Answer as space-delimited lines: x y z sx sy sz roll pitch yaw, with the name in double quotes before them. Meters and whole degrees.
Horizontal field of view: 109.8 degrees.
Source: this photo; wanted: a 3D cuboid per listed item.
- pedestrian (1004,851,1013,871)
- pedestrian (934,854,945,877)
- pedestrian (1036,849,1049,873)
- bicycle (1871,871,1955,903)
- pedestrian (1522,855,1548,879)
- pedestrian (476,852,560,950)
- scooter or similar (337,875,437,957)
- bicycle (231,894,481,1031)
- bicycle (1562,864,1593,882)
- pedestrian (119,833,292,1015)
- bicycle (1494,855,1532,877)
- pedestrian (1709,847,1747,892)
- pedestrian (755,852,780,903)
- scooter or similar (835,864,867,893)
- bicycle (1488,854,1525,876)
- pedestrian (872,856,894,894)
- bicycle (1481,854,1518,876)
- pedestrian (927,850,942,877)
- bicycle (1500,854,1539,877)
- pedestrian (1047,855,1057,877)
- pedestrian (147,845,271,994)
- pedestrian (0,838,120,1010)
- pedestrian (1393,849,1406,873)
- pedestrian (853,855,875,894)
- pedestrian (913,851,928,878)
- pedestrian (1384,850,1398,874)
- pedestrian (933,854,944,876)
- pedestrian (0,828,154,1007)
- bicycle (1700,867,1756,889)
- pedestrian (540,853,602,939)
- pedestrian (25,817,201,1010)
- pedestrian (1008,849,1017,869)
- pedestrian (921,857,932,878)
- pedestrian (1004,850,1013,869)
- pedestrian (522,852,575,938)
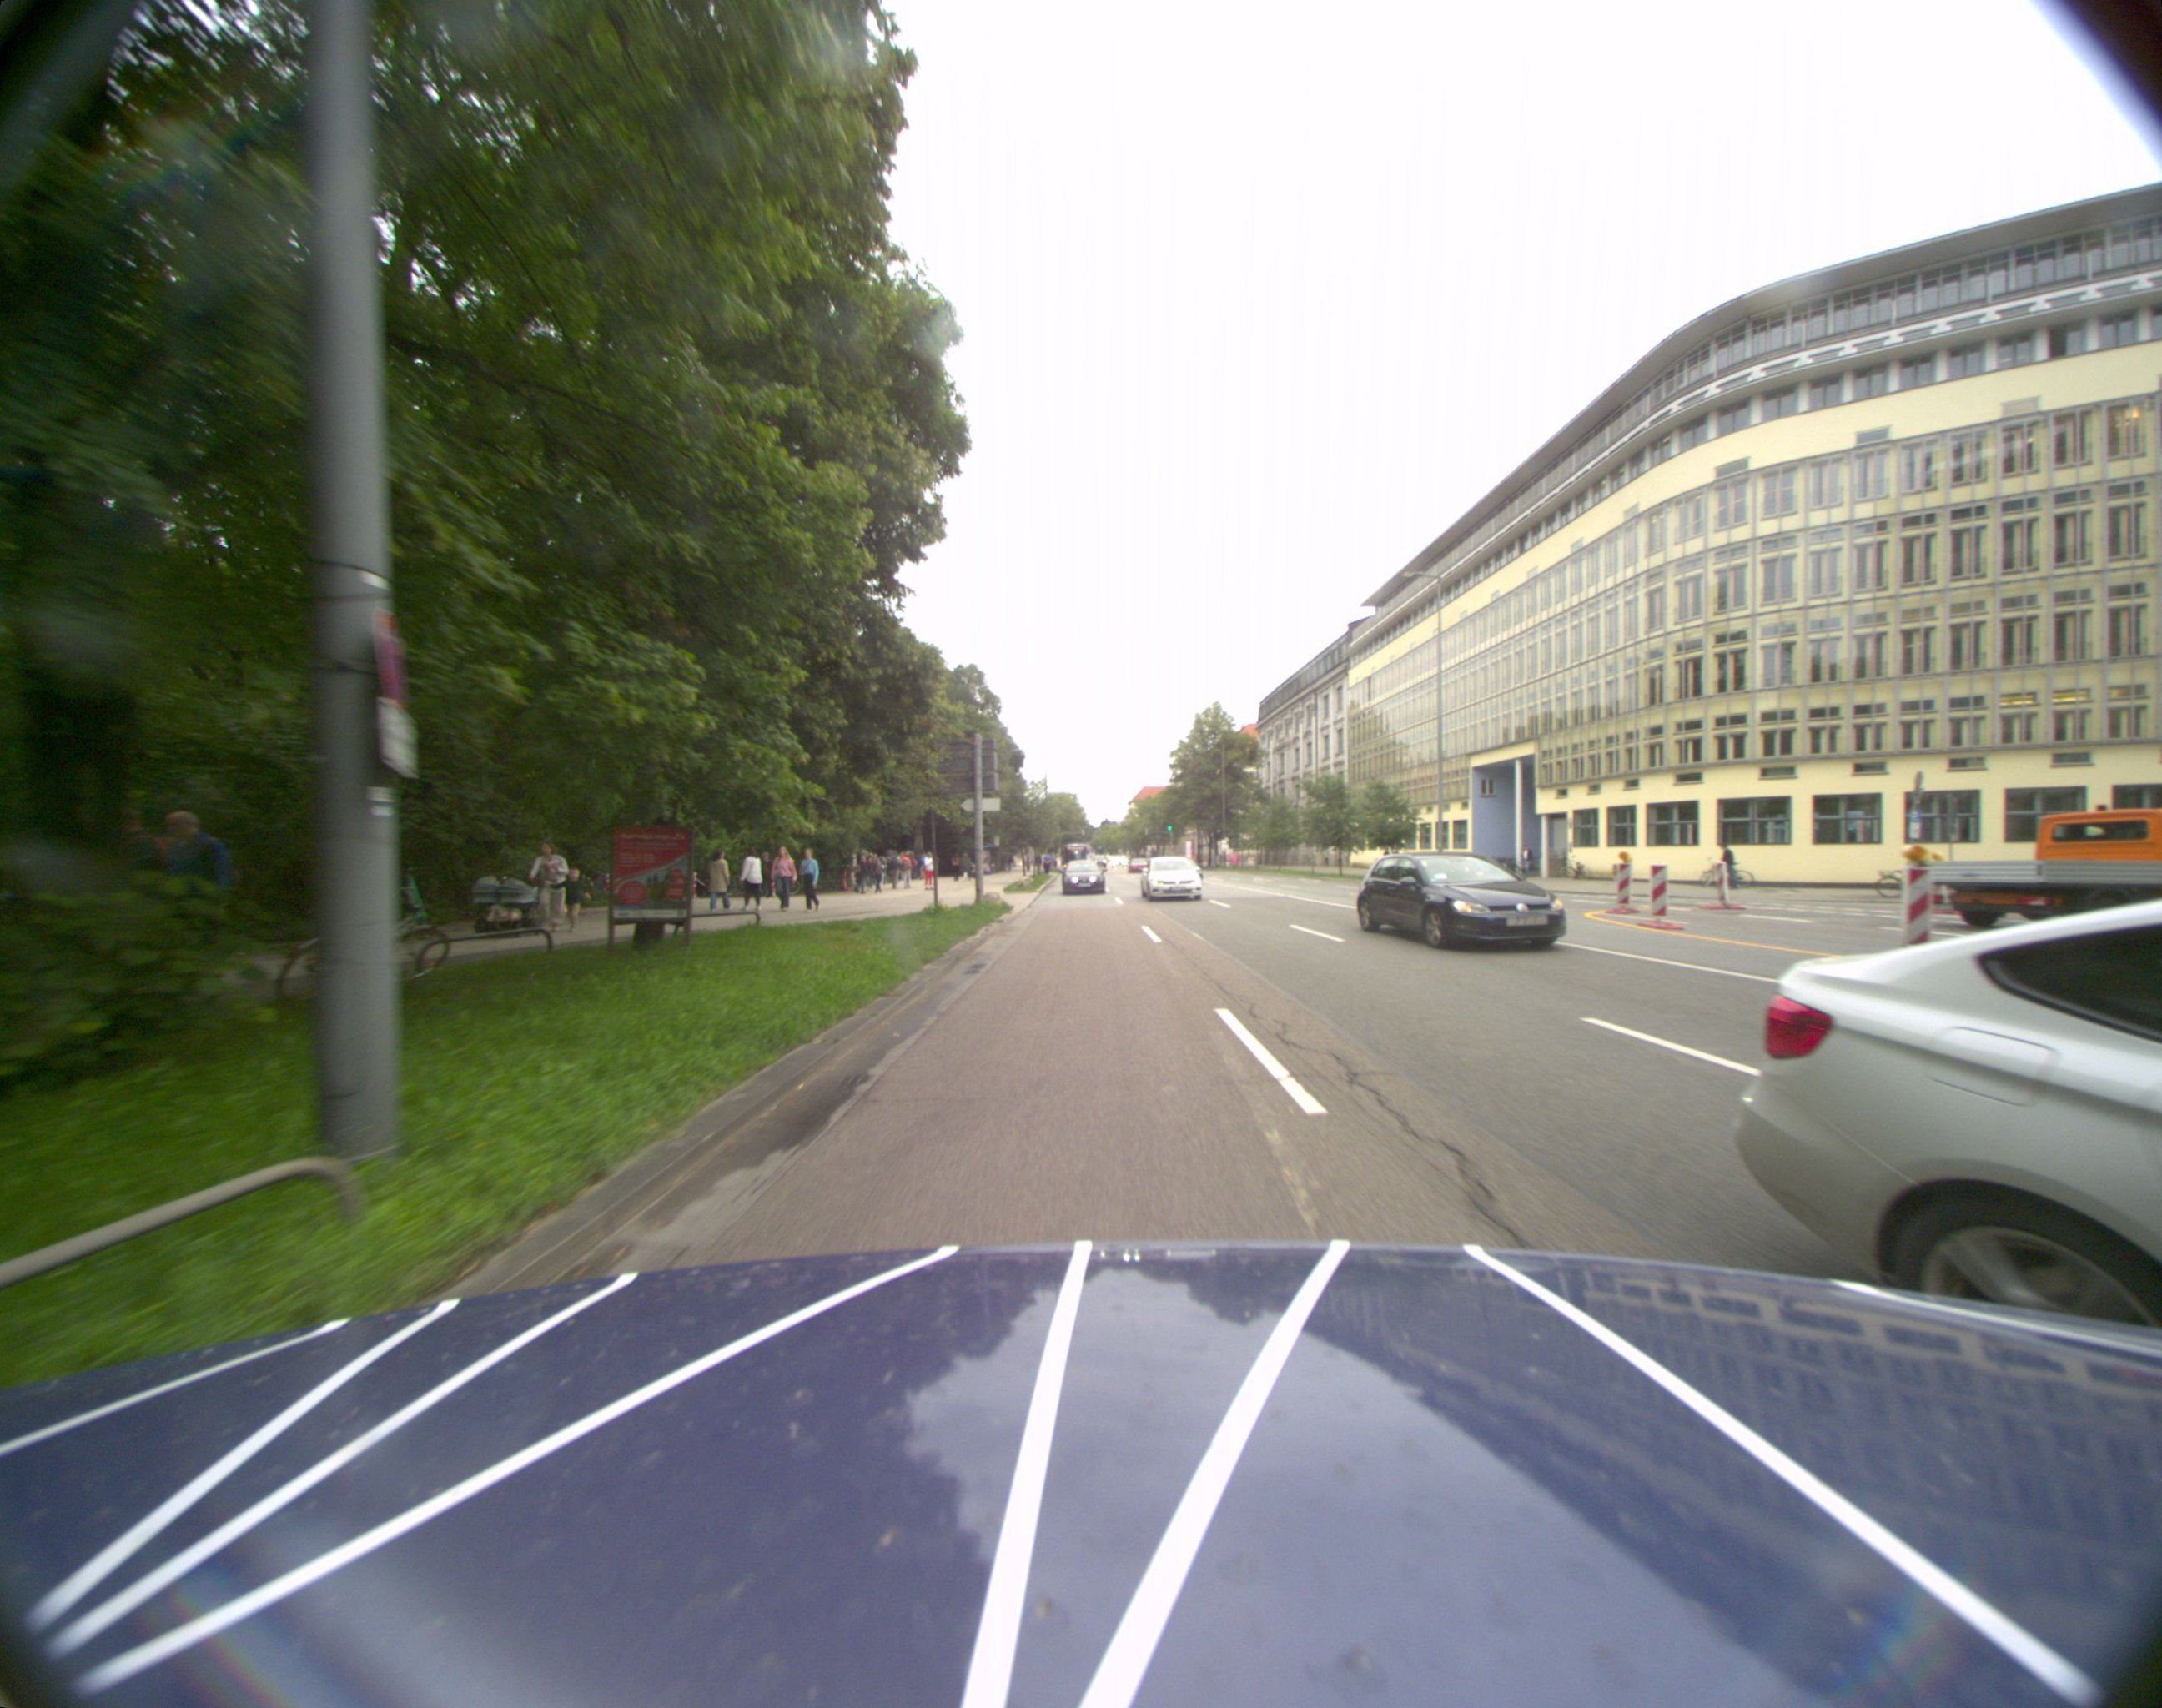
"pedestrian" -7.121 0.664 74.261 0.710 1.904 0.956 -2 1 0
"pedestrian" -10.683 0.861 57.501 0.637 1.757 0.533 -2 1 2
"pedestrian" -3.014 0.588 60.201 0.804 1.870 0.545 -1 1 36
"bicycle" 28.049 1.111 25.657 1.840 1.015 0.587 0 0 41
"pedestrian" 25.506 0.713 42.707 0.839 1.356 1.086 0 0 0
"pedestrian" -9.323 0.750 12.613 0.682 1.557 0.872 -2 1 1
"scooter or similar" -10.956 0.949 12.038 0.419 1.192 1.219 -2 0 0
"bicycle" -6.860 0.962 7.369 0.385 1.015 2.079 -2 0 0
"bicycle" 25.039 0.965 38.326 0.478 0.872 1.737 0 0 3
"pedestrian" -8.862 0.675 7.724 0.755 1.727 0.851 -2 1 15
"bicycle" 26.091 0.721 45.932 2.014 1.311 0.574 -2 1 -6
"pedestrian" 25.529 0.617 29.999 0.992 1.723 0.816 -2 1 30
"pedestrian" -11.794 0.861 28.556 0.694 1.862 0.610 -2 1 -35
"scooter or similar" -10.226 1.110 33.725 1.563 1.249 0.349 -2 1 30
"bicycle" 26.076 0.675 46.568 2.014 1.311 0.574 -2 1 -6
"pedestrian" -8.438 0.891 32.357 0.694 1.568 0.610 -2 1 -35
"bicycle" 26.011 0.665 47.213 2.014 1.311 0.638 -2 1 -6
"pedestrian" -9.985 0.634 51.846 0.814 1.818 0.729 -2 1 2
"bicycle" 26.143 0.676 45.332 2.014 1.311 0.574 -2 1 -6
"pedestrian" -2.375 0.984 61.935 0.710 1.798 0.639 -2 1 0
"pedestrian" -9.815 0.716 8.575 0.682 1.628 0.601 0 1 1
"pedestrian" -10.380 0.674 7.571 0.683 1.628 0.663 -2 1 -12
"pedestrian" 23.845 0.512 56.873 0.617 1.766 0.836 -2 1 0
"pedestrian" -9.214 0.867 32.202 0.694 1.642 0.610 -2 1 -33
"pedestrian" -10.767 0.681 50.957 0.814 1.757 0.729 -2 1 2
"pedestrian" 23.216 0.610 56.881 0.617 1.766 0.836 -2 1 0
"pedestrian" -10.668 0.789 56.739 0.637 1.617 0.533 -2 1 2
"pedestrian" -10.423 0.619 7.810 0.755 1.727 0.851 -2 1 15
"bicycle" 26.215 0.952 30.810 1.732 0.872 0.587 0 0 41
"pedestrian" -9.285 0.748 13.855 0.682 1.506 0.562 -2 1 1
"pedestrian" -9.624 0.561 7.595 0.589 1.812 0.850 -2 1 1
"pedestrian" -6.475 0.452 72.092 0.710 1.904 0.956 -2 1 0
"pedestrian" -10.986 0.963 54.015 0.637 1.498 0.533 -2 1 2
"pedestrian" -7.104 0.557 74.198 0.710 1.798 0.950 -2 1 0
"pedestrian" -9.863 0.745 14.088 0.485 1.557 0.573 -2 1 15
